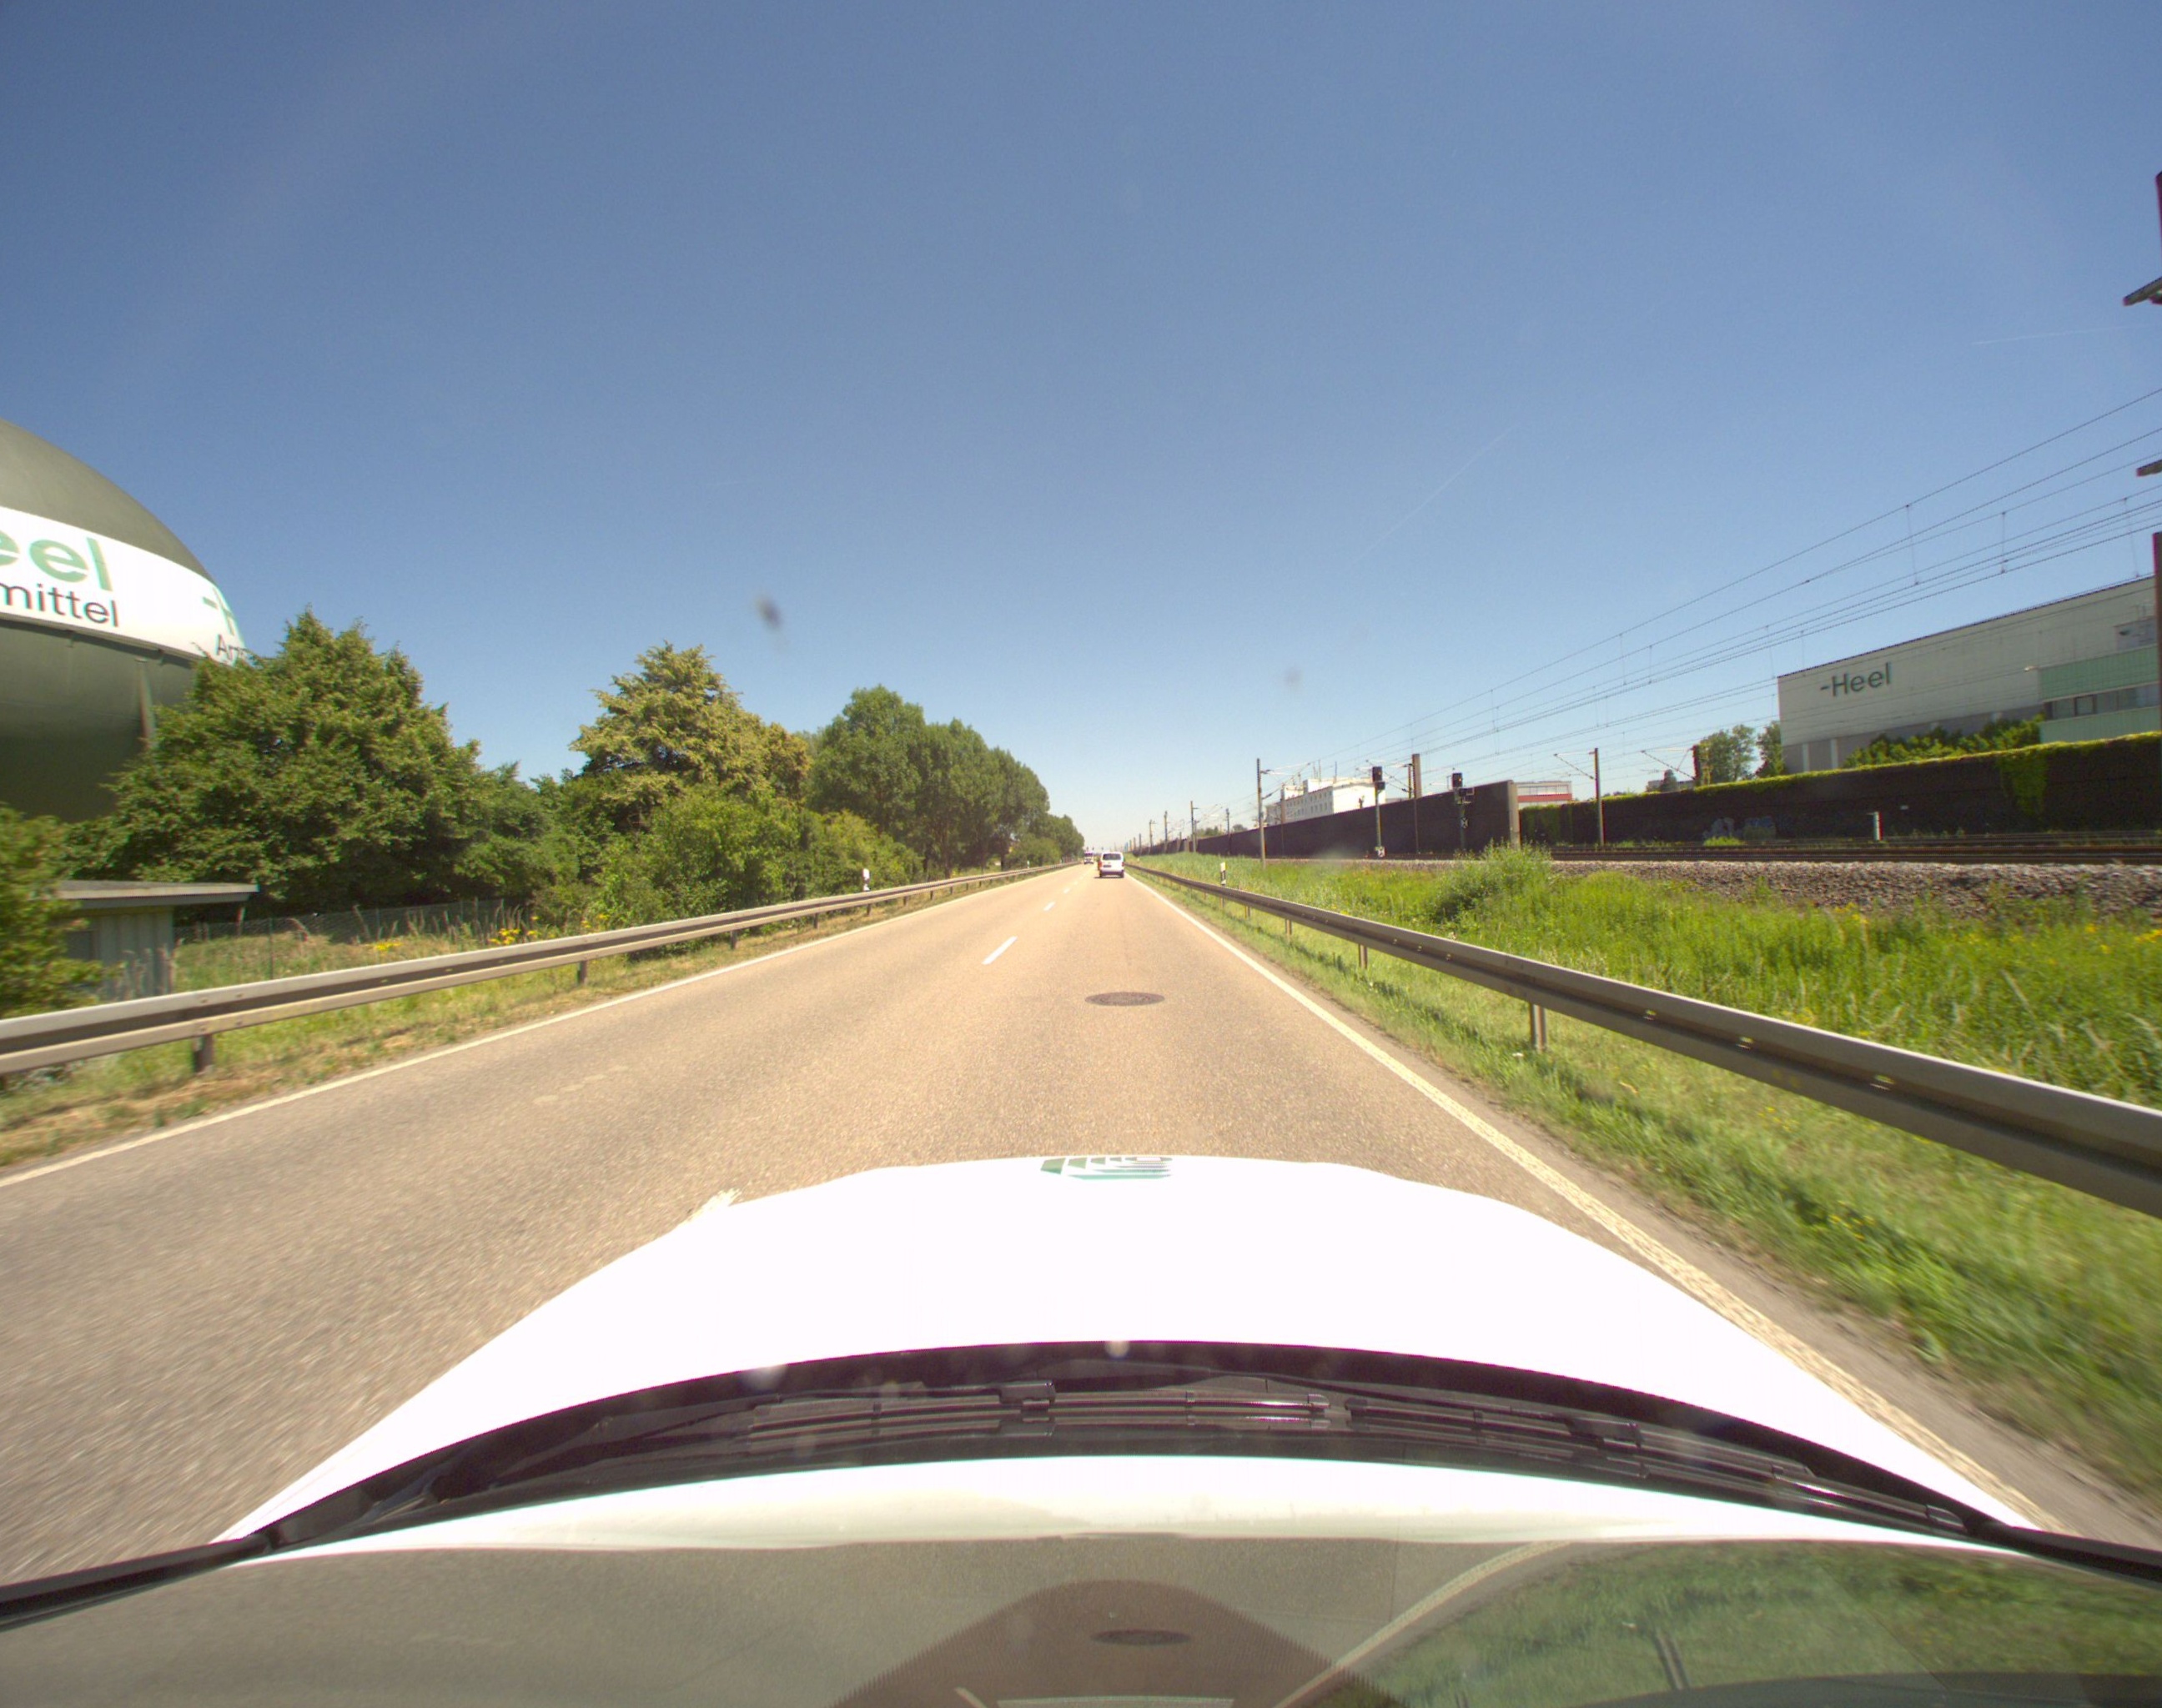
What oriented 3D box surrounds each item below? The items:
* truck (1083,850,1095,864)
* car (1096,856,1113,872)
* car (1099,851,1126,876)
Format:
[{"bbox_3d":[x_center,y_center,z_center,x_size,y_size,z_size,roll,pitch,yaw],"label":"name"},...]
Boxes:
[{"bbox_3d":[2.042,0.837,207.567,2.774,3.405,7.990,0,0,1],"label":"truck"},{"bbox_3d":[2.893,1.184,99.861,1.986,1.850,4.001,0,0,1],"label":"car"},{"bbox_3d":[2.368,0.681,61.655,1.986,1.850,4.001,0,0,1],"label":"car"}]
